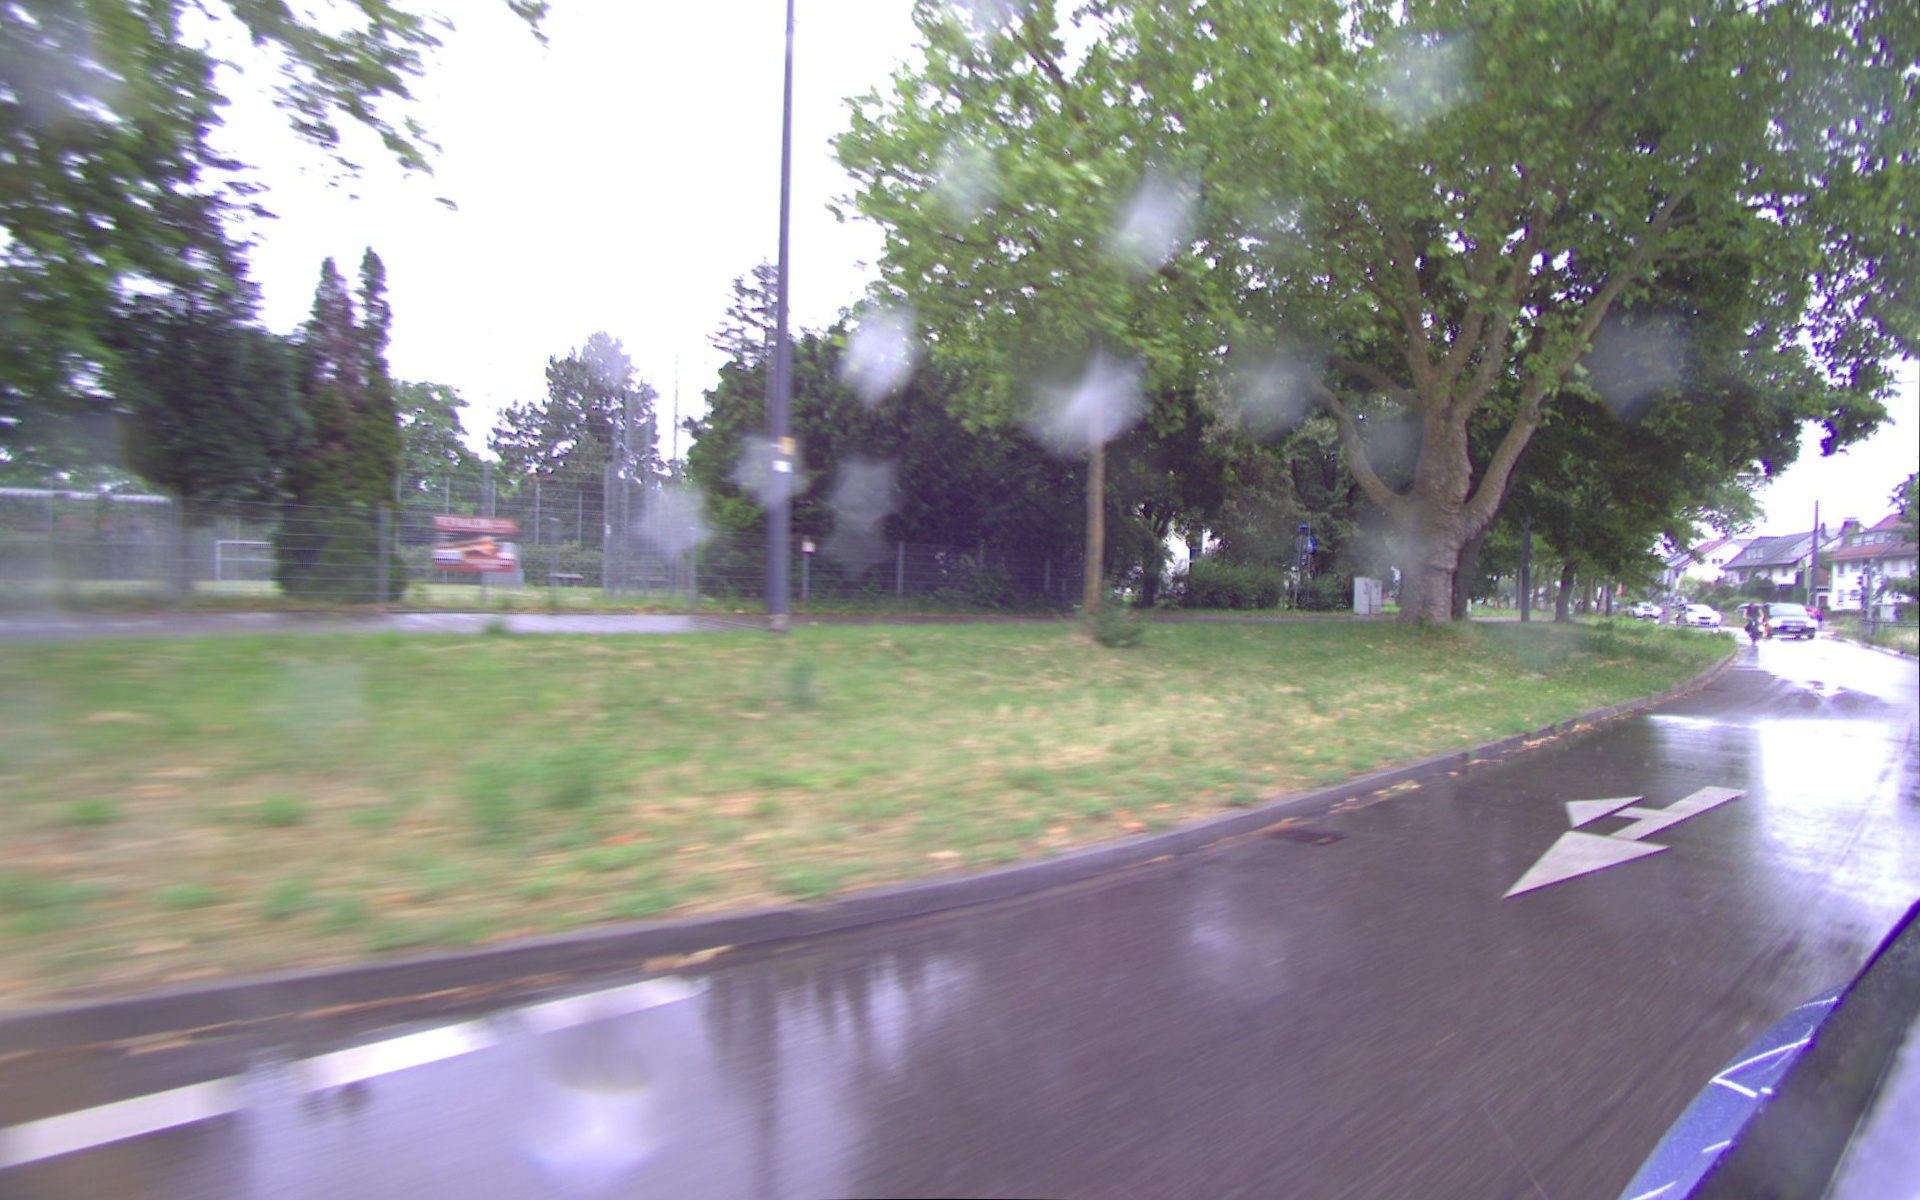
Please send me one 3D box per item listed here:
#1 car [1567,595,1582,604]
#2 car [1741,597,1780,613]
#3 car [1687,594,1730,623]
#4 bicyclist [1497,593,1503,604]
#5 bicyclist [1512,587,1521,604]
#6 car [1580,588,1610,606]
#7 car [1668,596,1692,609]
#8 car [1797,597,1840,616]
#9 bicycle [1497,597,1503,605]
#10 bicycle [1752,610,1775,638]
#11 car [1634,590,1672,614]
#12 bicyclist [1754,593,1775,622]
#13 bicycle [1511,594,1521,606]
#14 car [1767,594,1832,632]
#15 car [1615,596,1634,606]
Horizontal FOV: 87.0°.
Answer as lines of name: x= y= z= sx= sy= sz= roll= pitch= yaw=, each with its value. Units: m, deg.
car: x=115.465 y=-0.076 z=190.154 sx=1.740 sy=1.535 sz=3.825 roll=-1 pitch=0 yaw=23
car: x=81.902 y=0.503 z=103.571 sx=1.978 sy=1.634 sz=4.646 roll=0 pitch=0 yaw=24
car: x=47.788 y=0.521 z=64.656 sx=1.754 sy=1.746 sz=3.893 roll=1 pitch=1 yaw=30
bicyclist: x=54.368 y=-0.177 z=101.833 sx=0.485 sy=1.051 sz=0.585 roll=2 pitch=1 yaw=32
bicyclist: x=55.635 y=-0.462 z=101.220 sx=0.708 sy=1.742 sz=0.946 roll=1 pitch=2 yaw=33
car: x=63.367 y=-0.309 z=101.066 sx=1.747 sy=1.746 sz=3.908 roll=2 pitch=2 yaw=21
car: x=93.673 y=0.294 z=131.609 sx=1.699 sy=1.548 sz=3.574 roll=-2 pitch=0 yaw=22
car: x=77.140 y=0.573 z=90.977 sx=1.827 sy=1.566 sz=3.940 roll=-1 pitch=0 yaw=24
bicycle: x=54.364 y=0.100 z=101.848 sx=0.484 sy=0.717 sz=1.441 roll=2 pitch=2 yaw=31
bicycle: x=32.110 y=0.945 z=40.450 sx=0.656 sy=1.026 sz=2.226 roll=2 pitch=2 yaw=38
car: x=56.584 y=0.141 z=82.668 sx=1.749 sy=1.746 sz=3.903 roll=2 pitch=2 yaw=24
bicyclist: x=32.154 y=0.290 z=40.474 sx=0.619 sy=1.098 sz=0.616 roll=2 pitch=2 yaw=38
bicycle: x=55.650 y=-0.040 z=101.249 sx=0.708 sy=1.156 sz=1.949 roll=1 pitch=2 yaw=33
car: x=40.146 y=0.619 z=48.468 sx=1.754 sy=1.747 sz=3.892 roll=-1 pitch=0 yaw=30
car: x=104.215 y=0.179 z=158.746 sx=1.740 sy=1.535 sz=3.825 roll=-1 pitch=0 yaw=23
